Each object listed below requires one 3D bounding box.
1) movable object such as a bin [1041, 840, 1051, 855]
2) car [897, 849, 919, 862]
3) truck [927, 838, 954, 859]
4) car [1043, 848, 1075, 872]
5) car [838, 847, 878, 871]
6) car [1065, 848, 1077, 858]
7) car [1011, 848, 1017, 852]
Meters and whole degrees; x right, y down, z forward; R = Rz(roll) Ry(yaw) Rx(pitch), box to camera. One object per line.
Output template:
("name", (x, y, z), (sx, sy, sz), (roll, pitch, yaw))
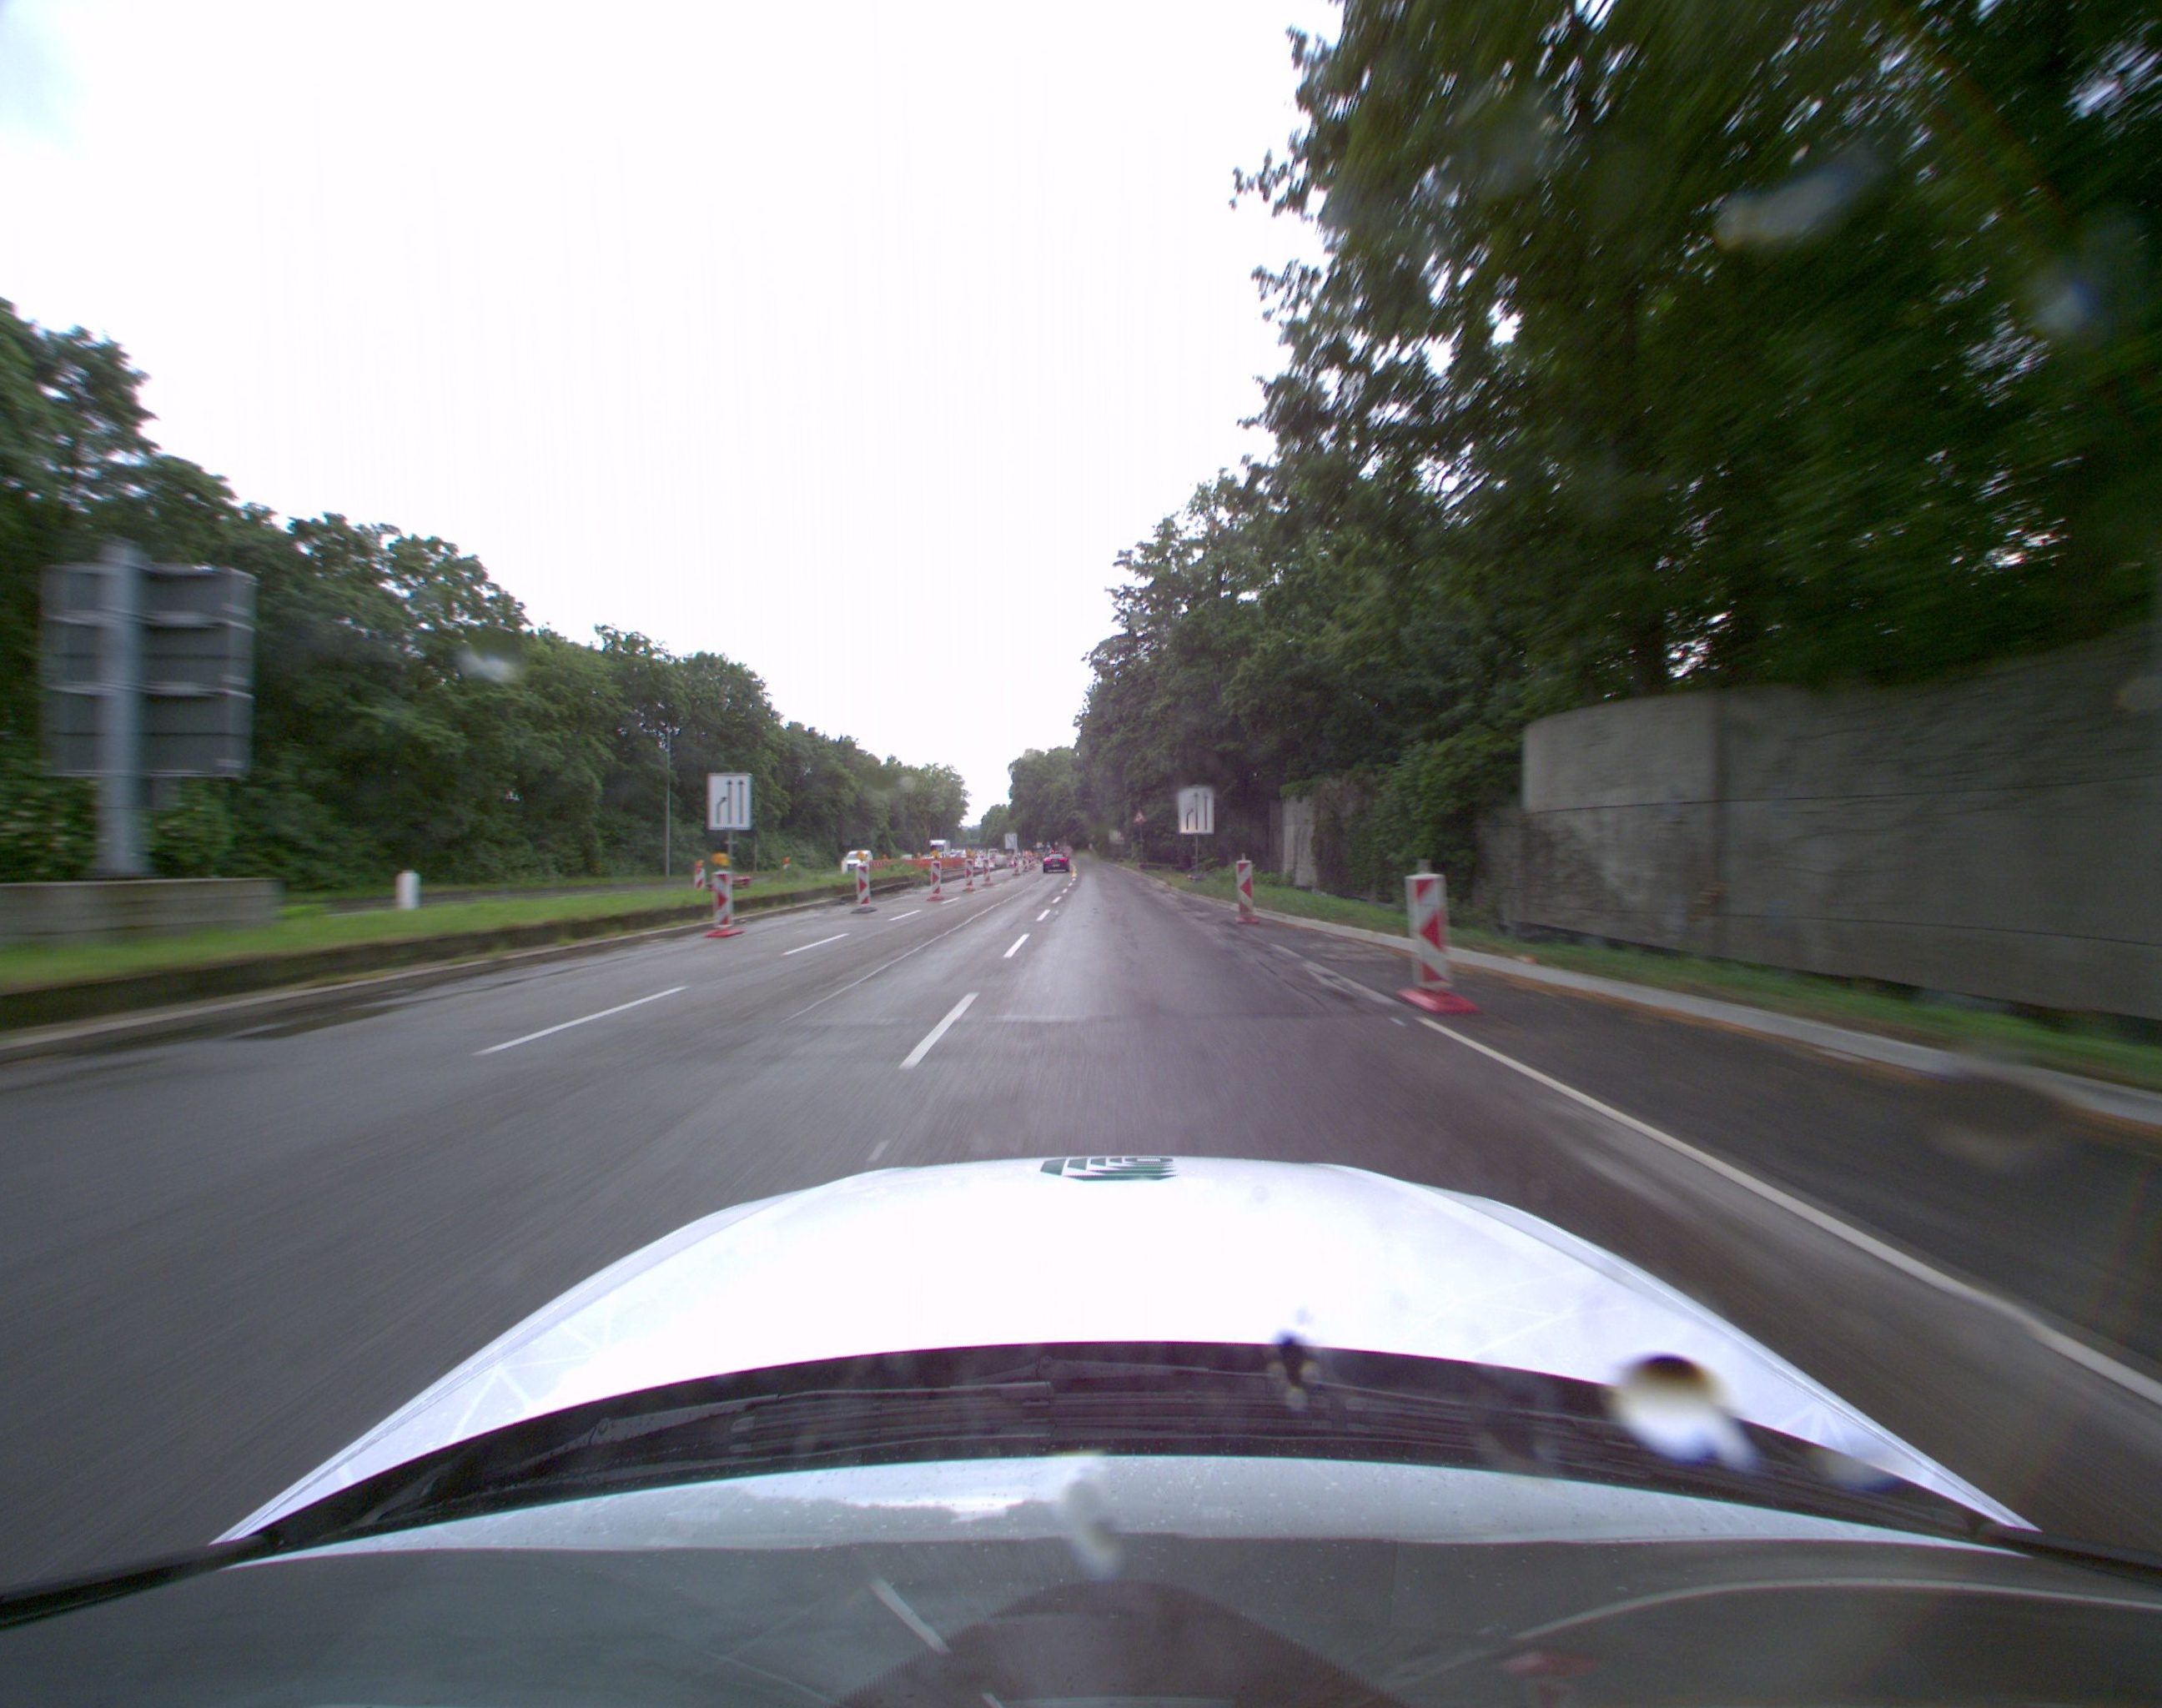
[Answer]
("movable object such as a bin", (-7.108, -1.293, 166.280), (1.744, 2.867, 3.527), (-2, 0, -6))
("car", (-21.024, 0.194, 98.866), (1.785, 1.425, 3.896), (-1, 1, 0))
("truck", (-22.394, -0.858, 130.367), (2.787, 3.148, 10.143), (-1, 0, -1))
("car", (-1.523, 0.427, 58.351), (1.853, 1.491, 4.006), (1, 3, 4))
("car", (-18.287, 0.383, 67.081), (1.908, 1.781, 4.833), (-1, 1, 0))
("car", (-1.762, -0.190, 138.950), (1.909, 1.597, 4.829), (-1, 1, -3))
("car", (-20.743, -1.216, 251.583), (1.756, 1.344, 3.988), (0, 2, -9))
